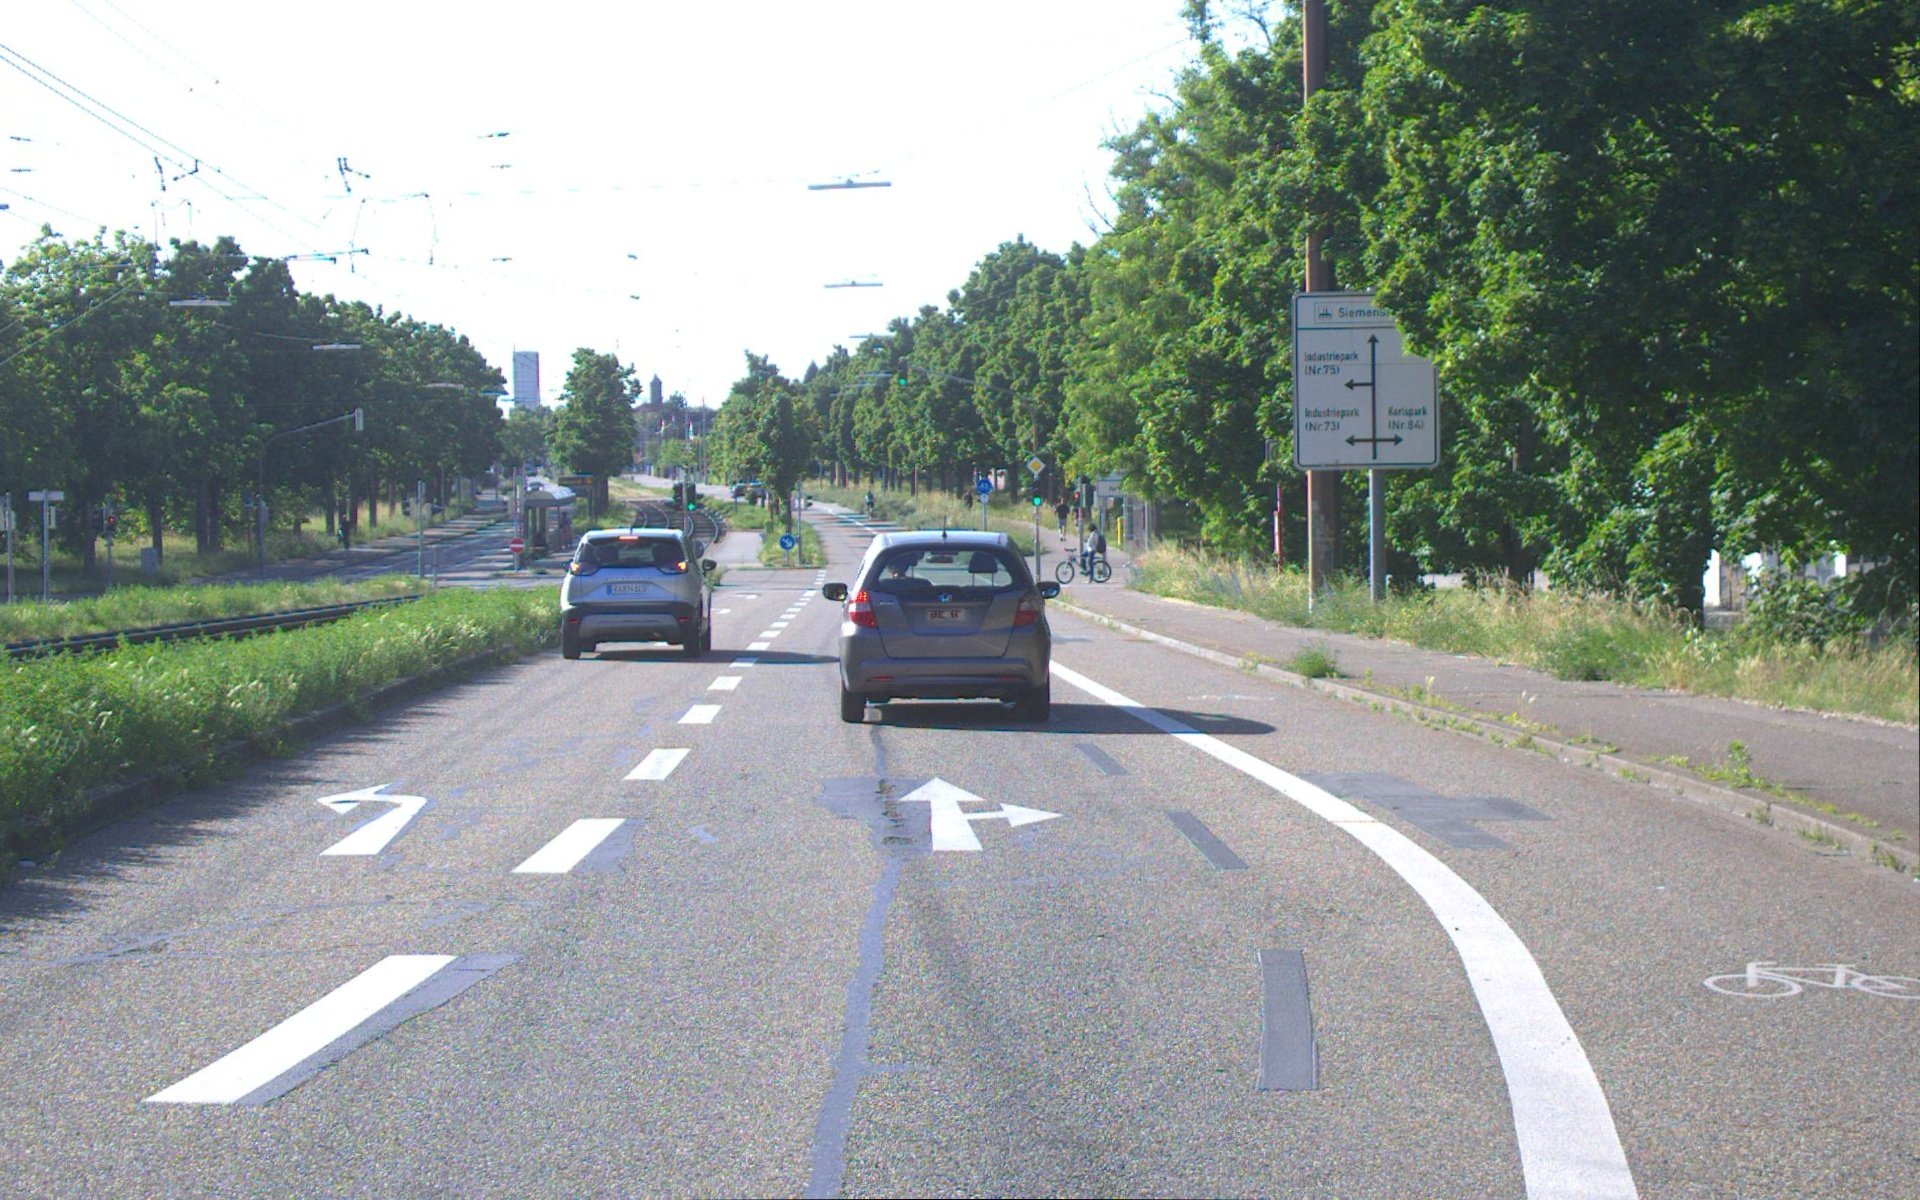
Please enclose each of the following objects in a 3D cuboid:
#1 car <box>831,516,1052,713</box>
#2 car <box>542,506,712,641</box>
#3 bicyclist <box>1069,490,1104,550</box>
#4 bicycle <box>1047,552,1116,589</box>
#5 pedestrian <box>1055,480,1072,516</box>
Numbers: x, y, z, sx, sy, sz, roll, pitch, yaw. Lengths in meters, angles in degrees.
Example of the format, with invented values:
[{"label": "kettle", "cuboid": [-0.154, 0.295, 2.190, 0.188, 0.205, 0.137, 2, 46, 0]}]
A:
[{"label": "car", "cuboid": [-0.190, 0.064, 28.530, 1.707, 1.503, 4.001, 0, 2, -1]}, {"label": "car", "cuboid": [-4.156, -0.382, 43.474, 1.850, 1.601, 4.255, 0, 2, -2]}, {"label": "bicyclist", "cuboid": [3.744, -2.368, 101.660, 0.910, 1.739, 0.764, -2, 1, 10]}, {"label": "bicycle", "cuboid": [3.600, -0.875, 101.724, 1.920, 0.994, 0.764, -3, 1, 10]}, {"label": "pedestrian", "cuboid": [4.608, -4.542, 153.686, 0.678, 1.604, 0.721, 0, 1, -3]}]
